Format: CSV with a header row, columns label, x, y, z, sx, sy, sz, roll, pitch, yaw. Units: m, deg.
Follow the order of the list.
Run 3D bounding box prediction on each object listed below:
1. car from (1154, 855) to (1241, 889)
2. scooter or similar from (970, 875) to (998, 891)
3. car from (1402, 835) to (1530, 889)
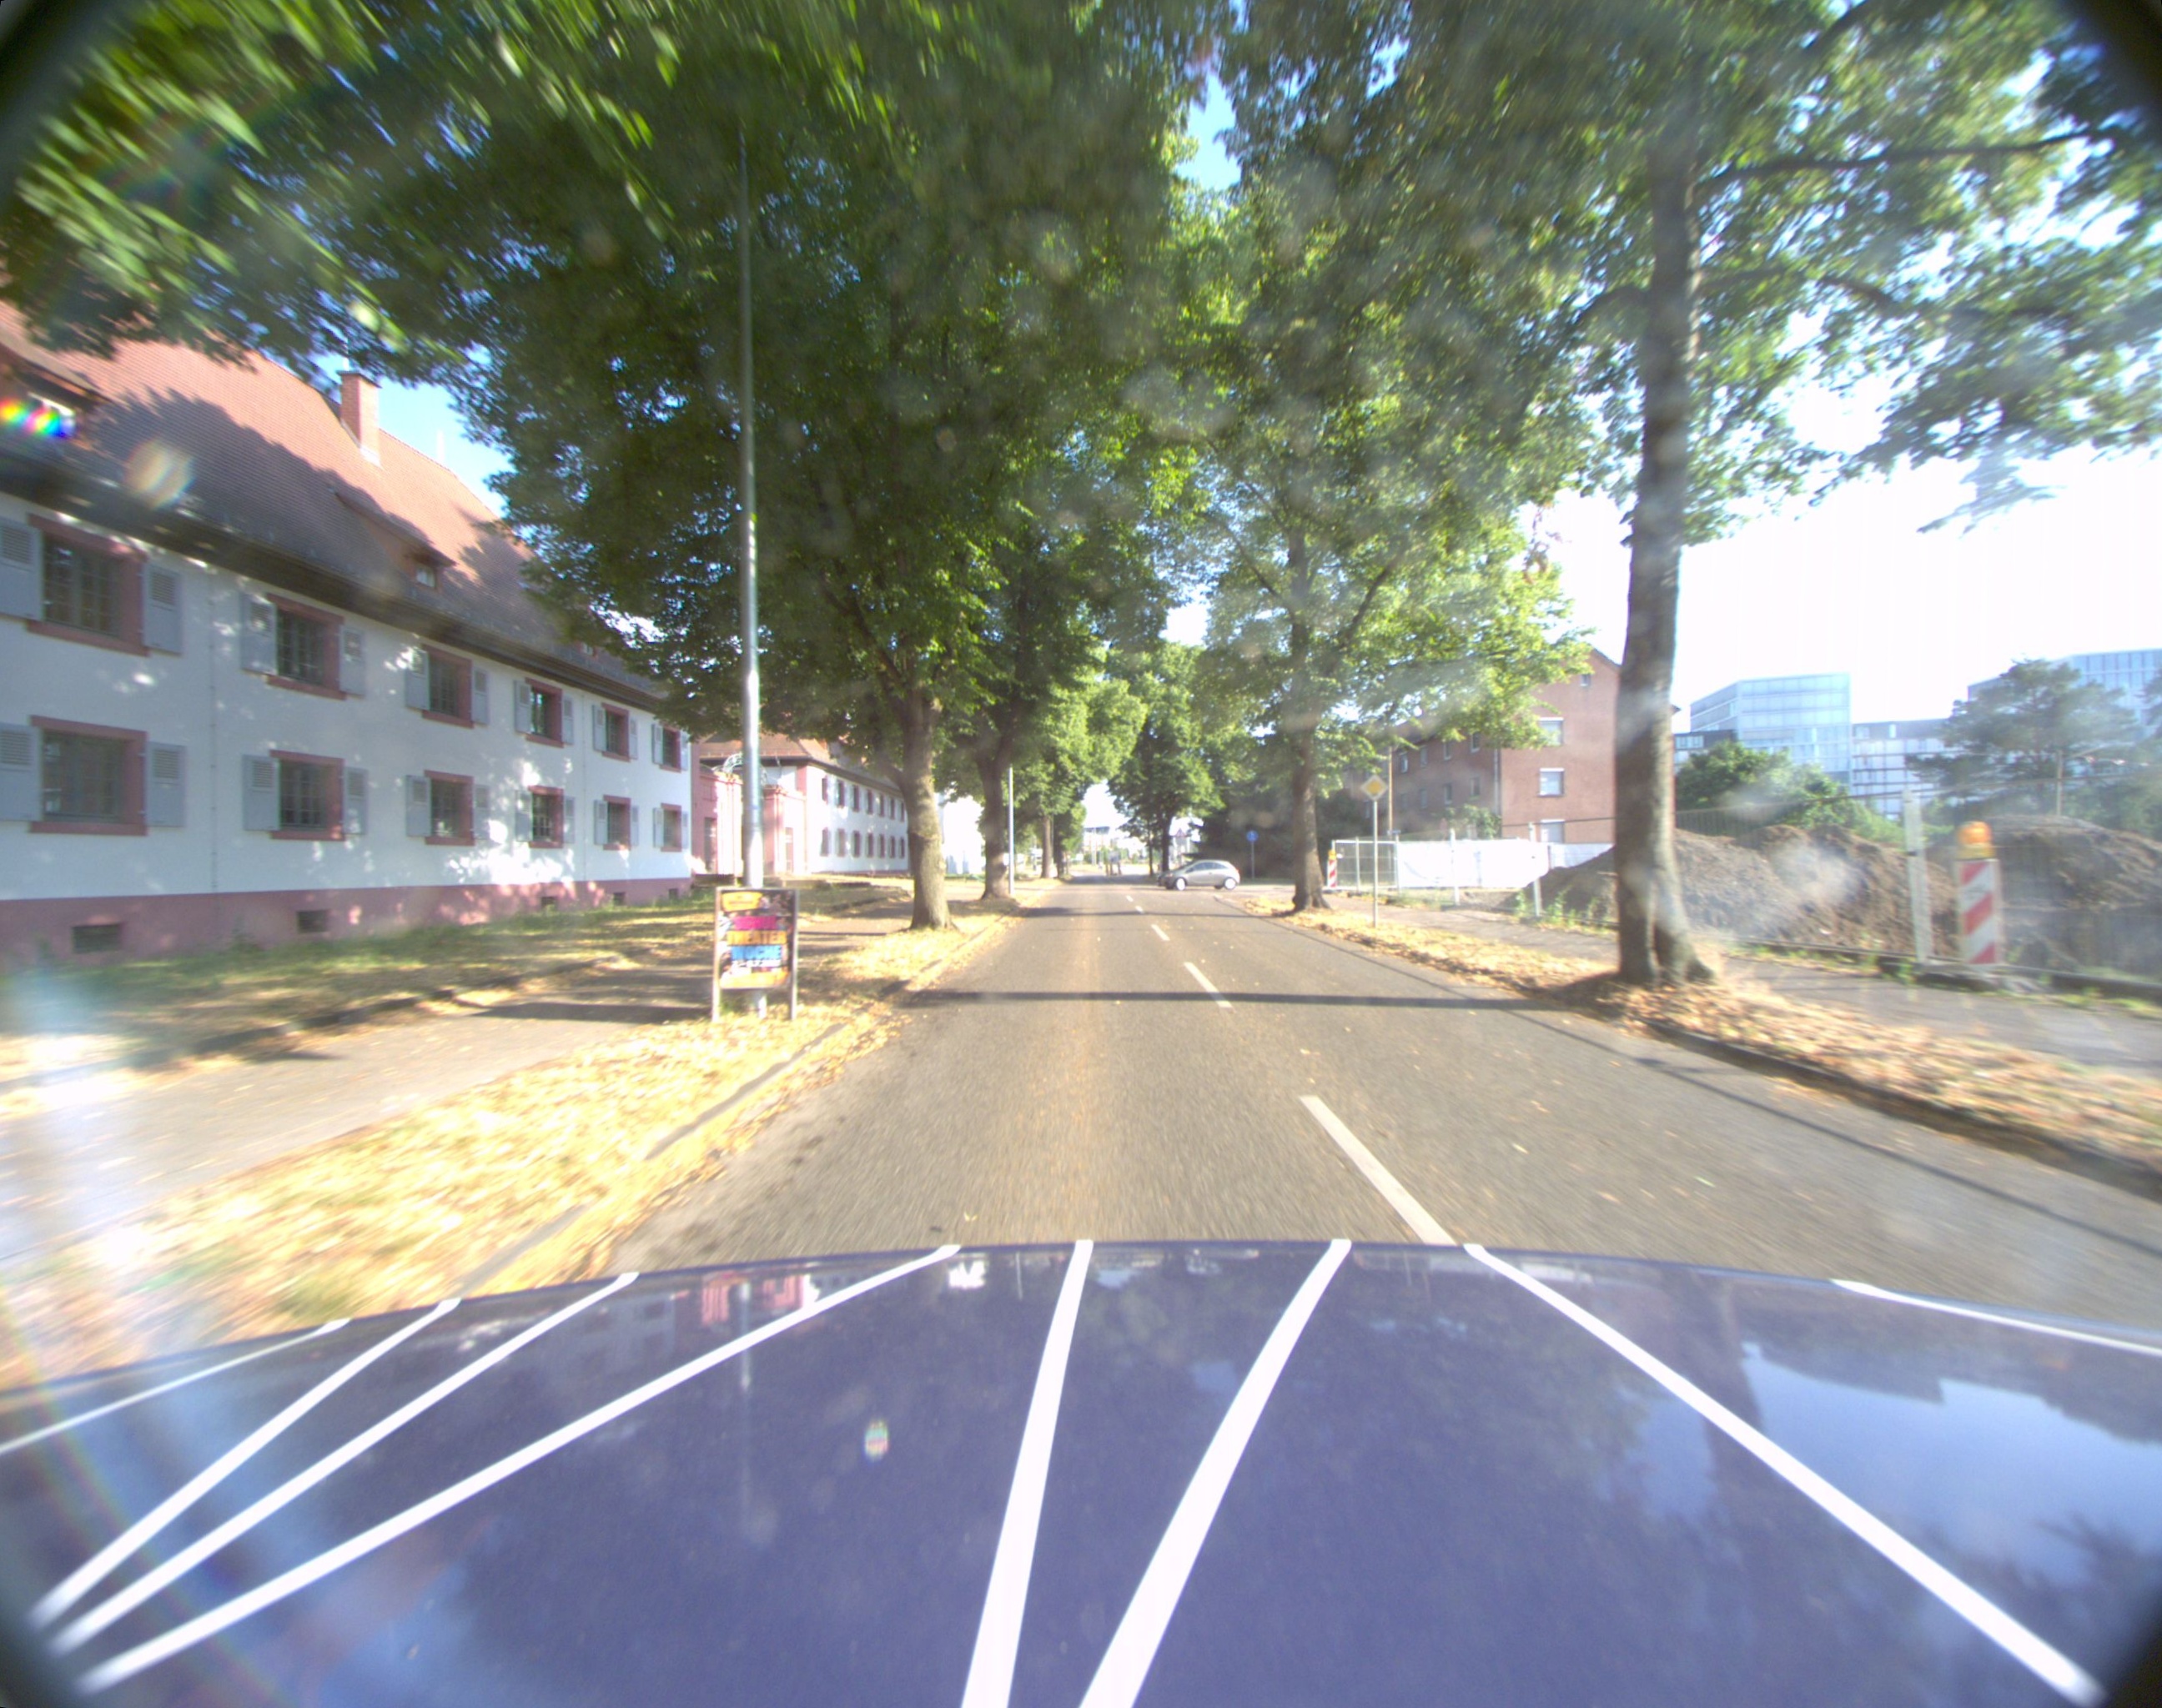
label,x,y,z,sx,sy,sz,roll,pitch,yaw
car,5.676,0.870,37.182,3.856,1.464,1.650,-2,0,-7
scooter or similar,-5.643,1.689,44.342,1.226,0.546,1.065,15,6,15
car,19.380,0.377,38.493,5.317,2.454,2.170,2,0,8
